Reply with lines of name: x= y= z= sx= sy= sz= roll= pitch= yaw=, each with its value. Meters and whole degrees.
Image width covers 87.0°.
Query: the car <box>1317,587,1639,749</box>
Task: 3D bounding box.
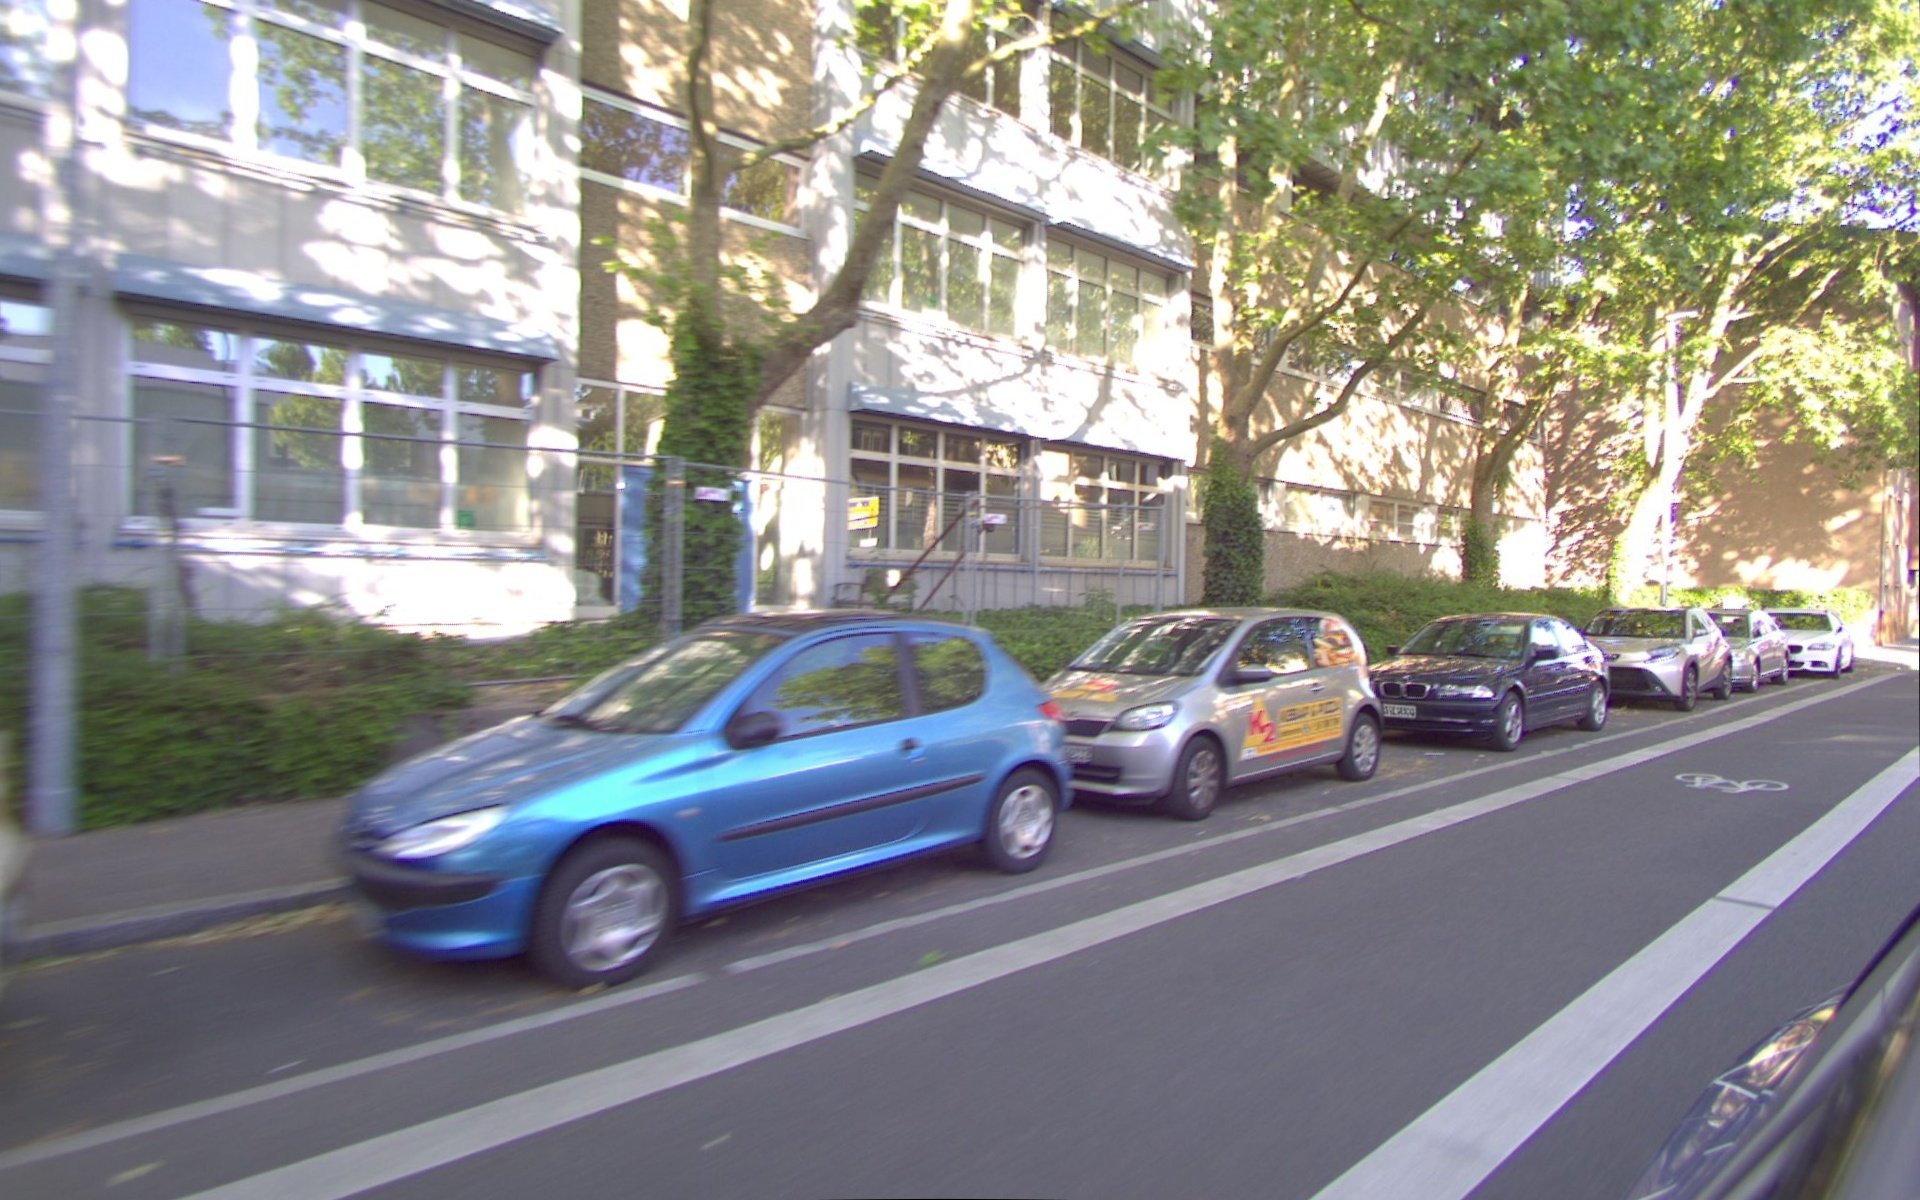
car: x=6.193 y=0.661 z=11.850 sx=4.520 sy=1.542 sz=1.857 roll=0 pitch=-1 yaw=-42

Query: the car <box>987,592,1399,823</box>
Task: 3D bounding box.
car: x=2.018 y=0.707 z=8.298 sx=3.432 sy=1.494 sz=1.615 roll=0 pitch=-1 yaw=-42

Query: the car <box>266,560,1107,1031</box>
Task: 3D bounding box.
car: x=-1.164 y=0.656 z=5.321 sx=3.863 sy=1.530 sz=1.856 roll=0 pitch=-1 yaw=-44

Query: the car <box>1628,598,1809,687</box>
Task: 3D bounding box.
car: x=14.139 y=0.689 z=18.775 sx=4.523 sy=1.455 sz=1.858 roll=0 pitch=0 yaw=-42

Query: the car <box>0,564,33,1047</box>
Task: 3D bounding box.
car: x=-4.527 y=0.646 z=2.125 sx=3.692 sy=1.504 sz=1.641 roll=0 pitch=-1 yaw=-40

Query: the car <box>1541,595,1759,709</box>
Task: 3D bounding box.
car: x=10.839 y=0.692 z=15.782 sx=4.223 sy=1.542 sz=1.858 roll=0 pitch=0 yaw=-42

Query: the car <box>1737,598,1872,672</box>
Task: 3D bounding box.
car: x=19.020 y=0.702 z=22.707 sx=4.888 sy=1.455 sz=1.856 roll=0 pitch=1 yaw=-44
